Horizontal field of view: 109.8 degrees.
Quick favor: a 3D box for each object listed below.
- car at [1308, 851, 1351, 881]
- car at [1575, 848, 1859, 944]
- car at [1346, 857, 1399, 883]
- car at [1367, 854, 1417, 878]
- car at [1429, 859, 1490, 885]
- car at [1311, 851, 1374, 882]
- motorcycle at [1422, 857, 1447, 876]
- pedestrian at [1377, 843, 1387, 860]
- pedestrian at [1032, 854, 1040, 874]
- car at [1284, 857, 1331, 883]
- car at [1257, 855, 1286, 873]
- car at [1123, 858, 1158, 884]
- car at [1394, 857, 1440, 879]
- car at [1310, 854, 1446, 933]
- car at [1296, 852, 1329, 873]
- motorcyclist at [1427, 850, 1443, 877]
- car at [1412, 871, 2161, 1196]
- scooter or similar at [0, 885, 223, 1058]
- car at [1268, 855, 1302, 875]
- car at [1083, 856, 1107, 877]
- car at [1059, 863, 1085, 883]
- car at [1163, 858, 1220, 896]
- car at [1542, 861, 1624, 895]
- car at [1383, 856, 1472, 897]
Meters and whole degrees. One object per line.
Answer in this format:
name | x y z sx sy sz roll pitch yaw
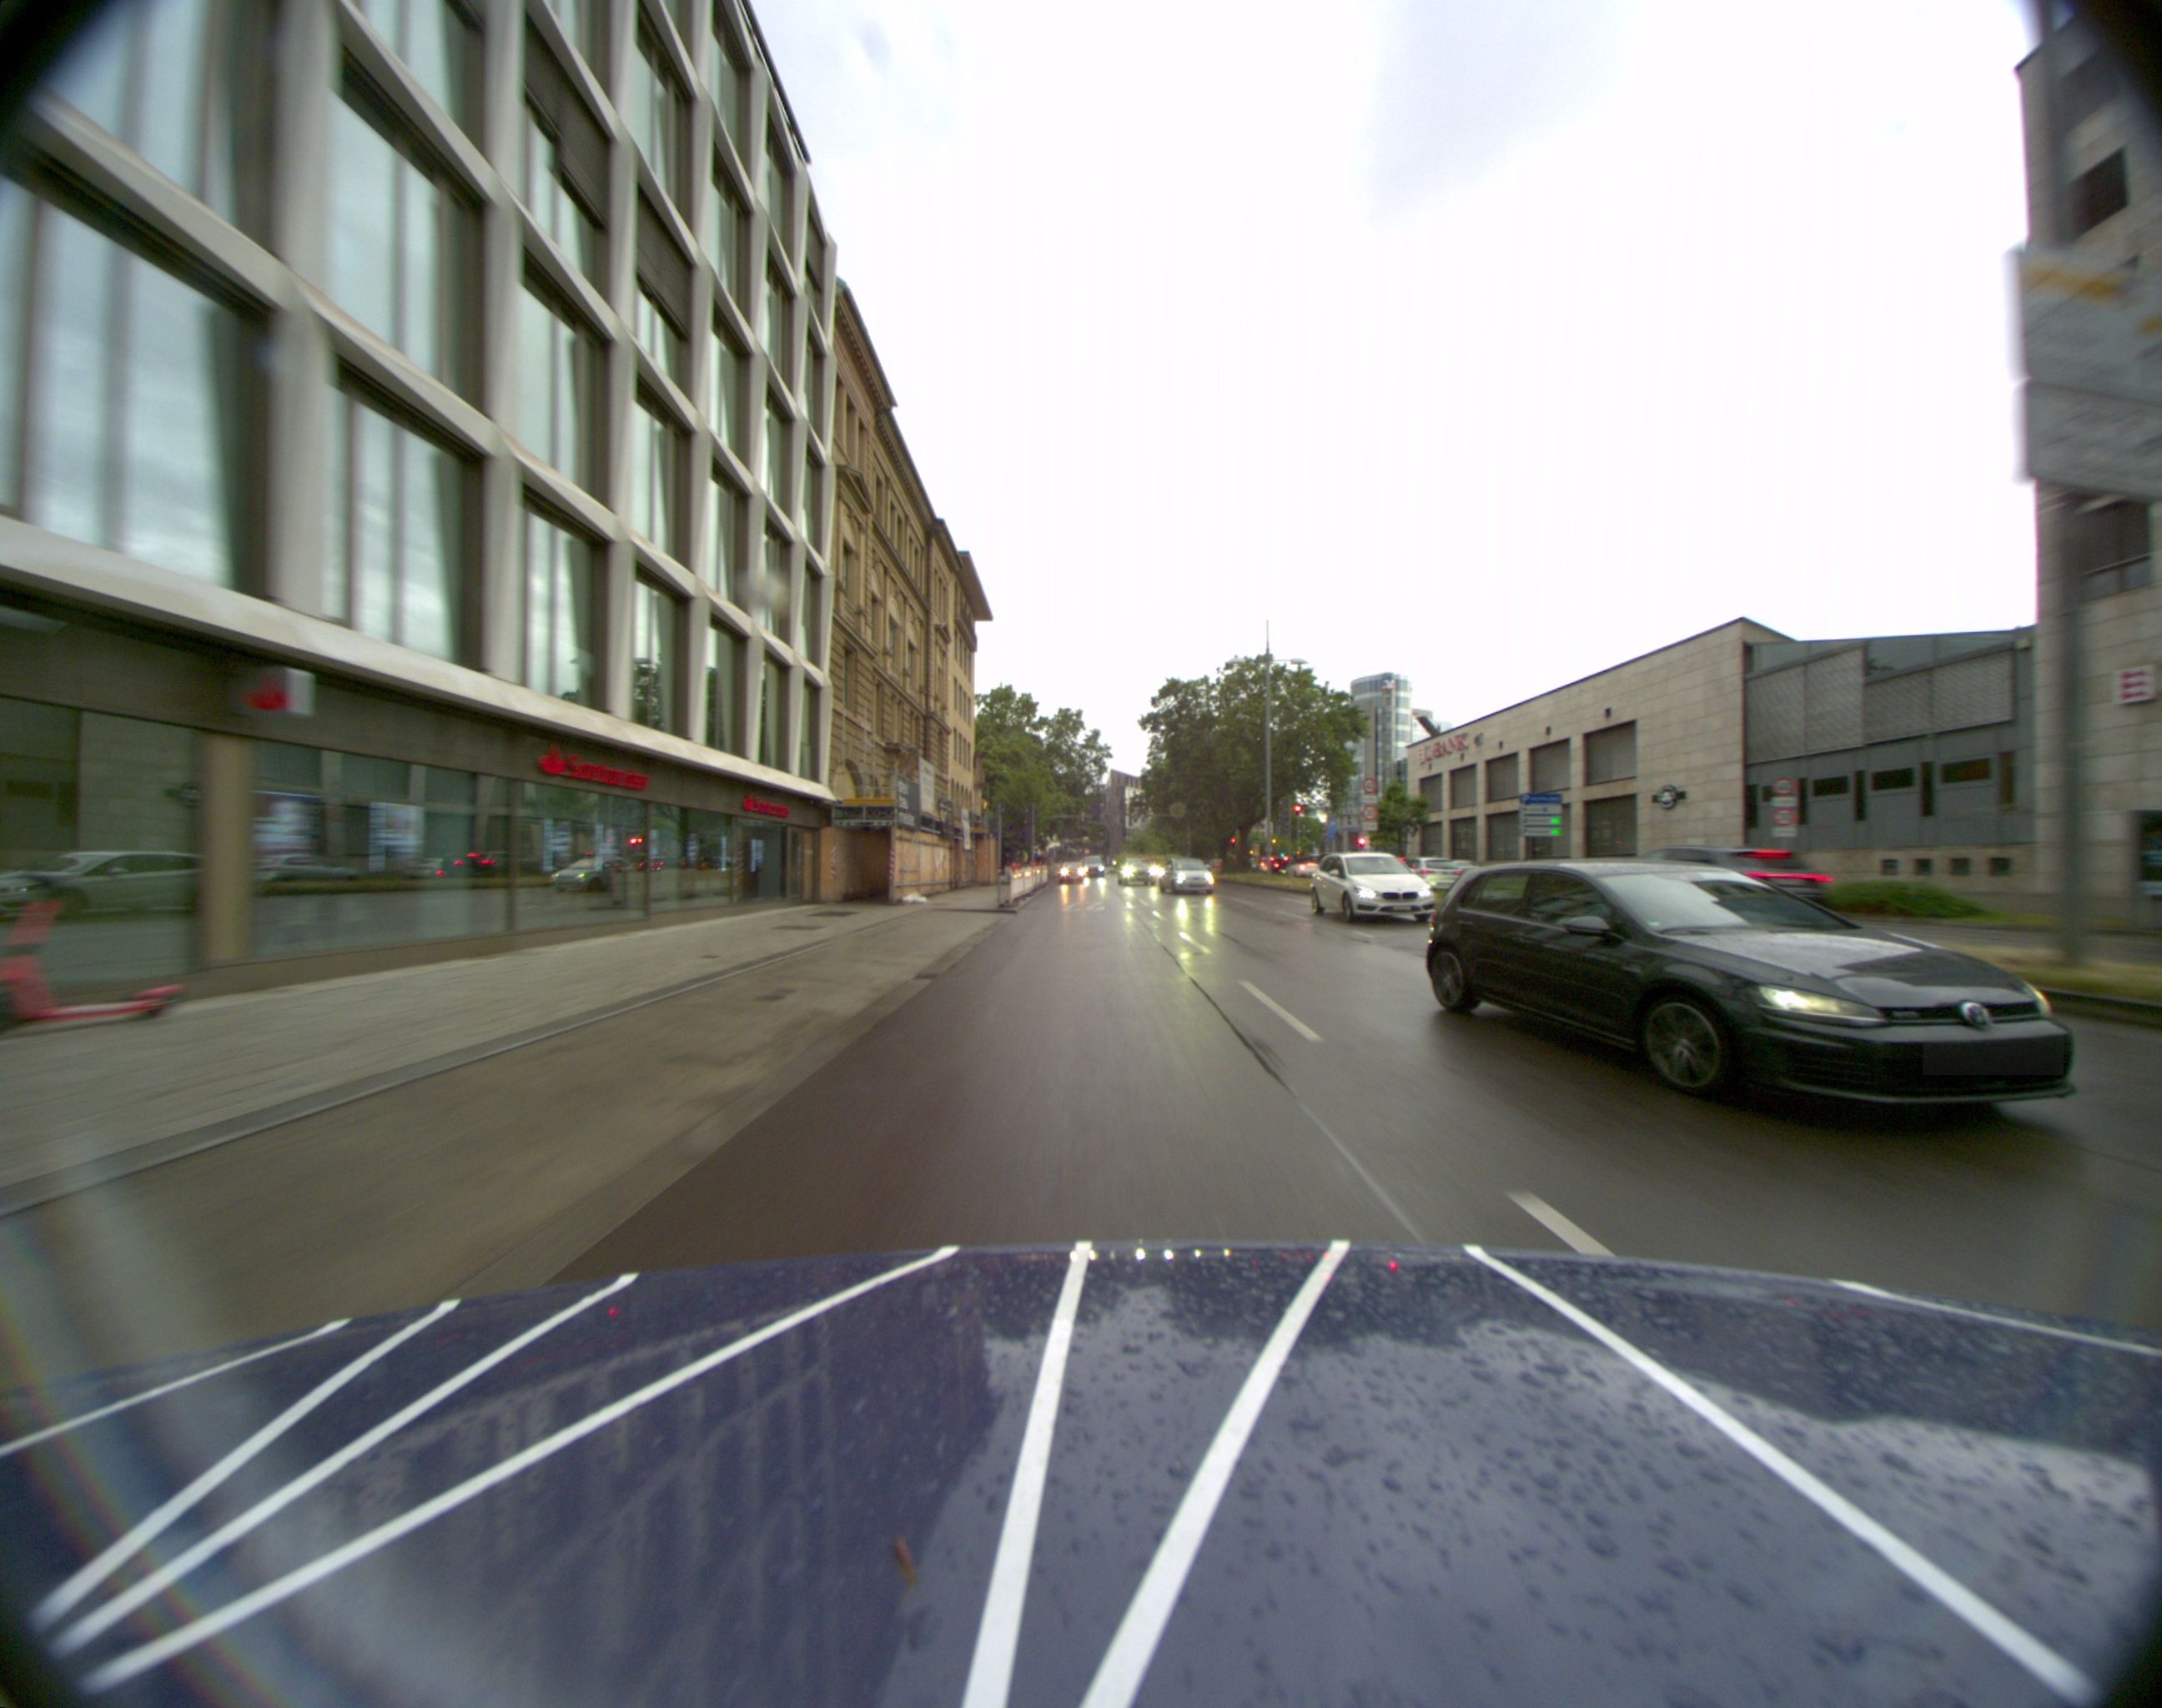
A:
car | 17.698 0.792 54.280 1.835 1.990 5.106 0 1 5
car | 12.519 0.707 15.480 1.878 1.670 4.680 0 1 0
car | 17.344 0.937 45.387 1.730 1.424 4.396 0 1 4
car | 20.801 0.783 50.962 1.730 1.523 4.640 0 1 4
car | 23.076 1.054 46.493 1.751 1.407 4.706 0 1 5
car | 13.279 0.593 38.849 1.704 1.429 4.582 0 1 1
motorcycle | 20.529 0.728 44.172 0.550 1.123 2.033 -1 -1 2
pedestrian | 35.108 -0.276 88.608 0.589 1.913 1.125 -2 0 0
pedestrian | -4.227 0.914 70.932 0.634 1.824 0.563 0 1 4
car | 14.151 0.984 47.709 1.864 1.434 4.314 3 1 4
car | 15.572 0.817 62.401 1.751 1.357 4.132 0 1 6
car | 3.439 0.939 44.532 1.716 1.432 3.494 1 0 0
car | 23.676 0.948 53.751 1.751 1.407 4.295 0 1 6
car | 6.784 0.824 17.837 1.781 1.587 4.000 0 1 3
car | 18.531 0.641 60.955 1.834 1.630 4.093 0 1 6
motorcyclist | 20.518 0.555 44.032 0.521 1.520 0.973 -1 0 2
car | 4.383 0.898 5.713 1.789 1.444 4.122 -1 0 -4
scooter or similar | -7.943 0.890 6.200 0.412 1.229 1.190 -1 0 9
car | 14.774 0.767 55.153 1.751 1.357 3.945 0 1 6
car | 1.255 1.060 66.712 1.998 1.733 3.910 -1 0 2
car | -0.572 1.239 50.496 1.716 1.274 3.494 0 0 0
car | 4.674 0.931 32.572 1.612 1.432 3.493 -4 0 -4
car | 22.230 1.030 33.790 1.595 1.407 3.402 0 1 5
car | 12.751 0.793 28.235 1.600 1.352 4.117 0 1 3
